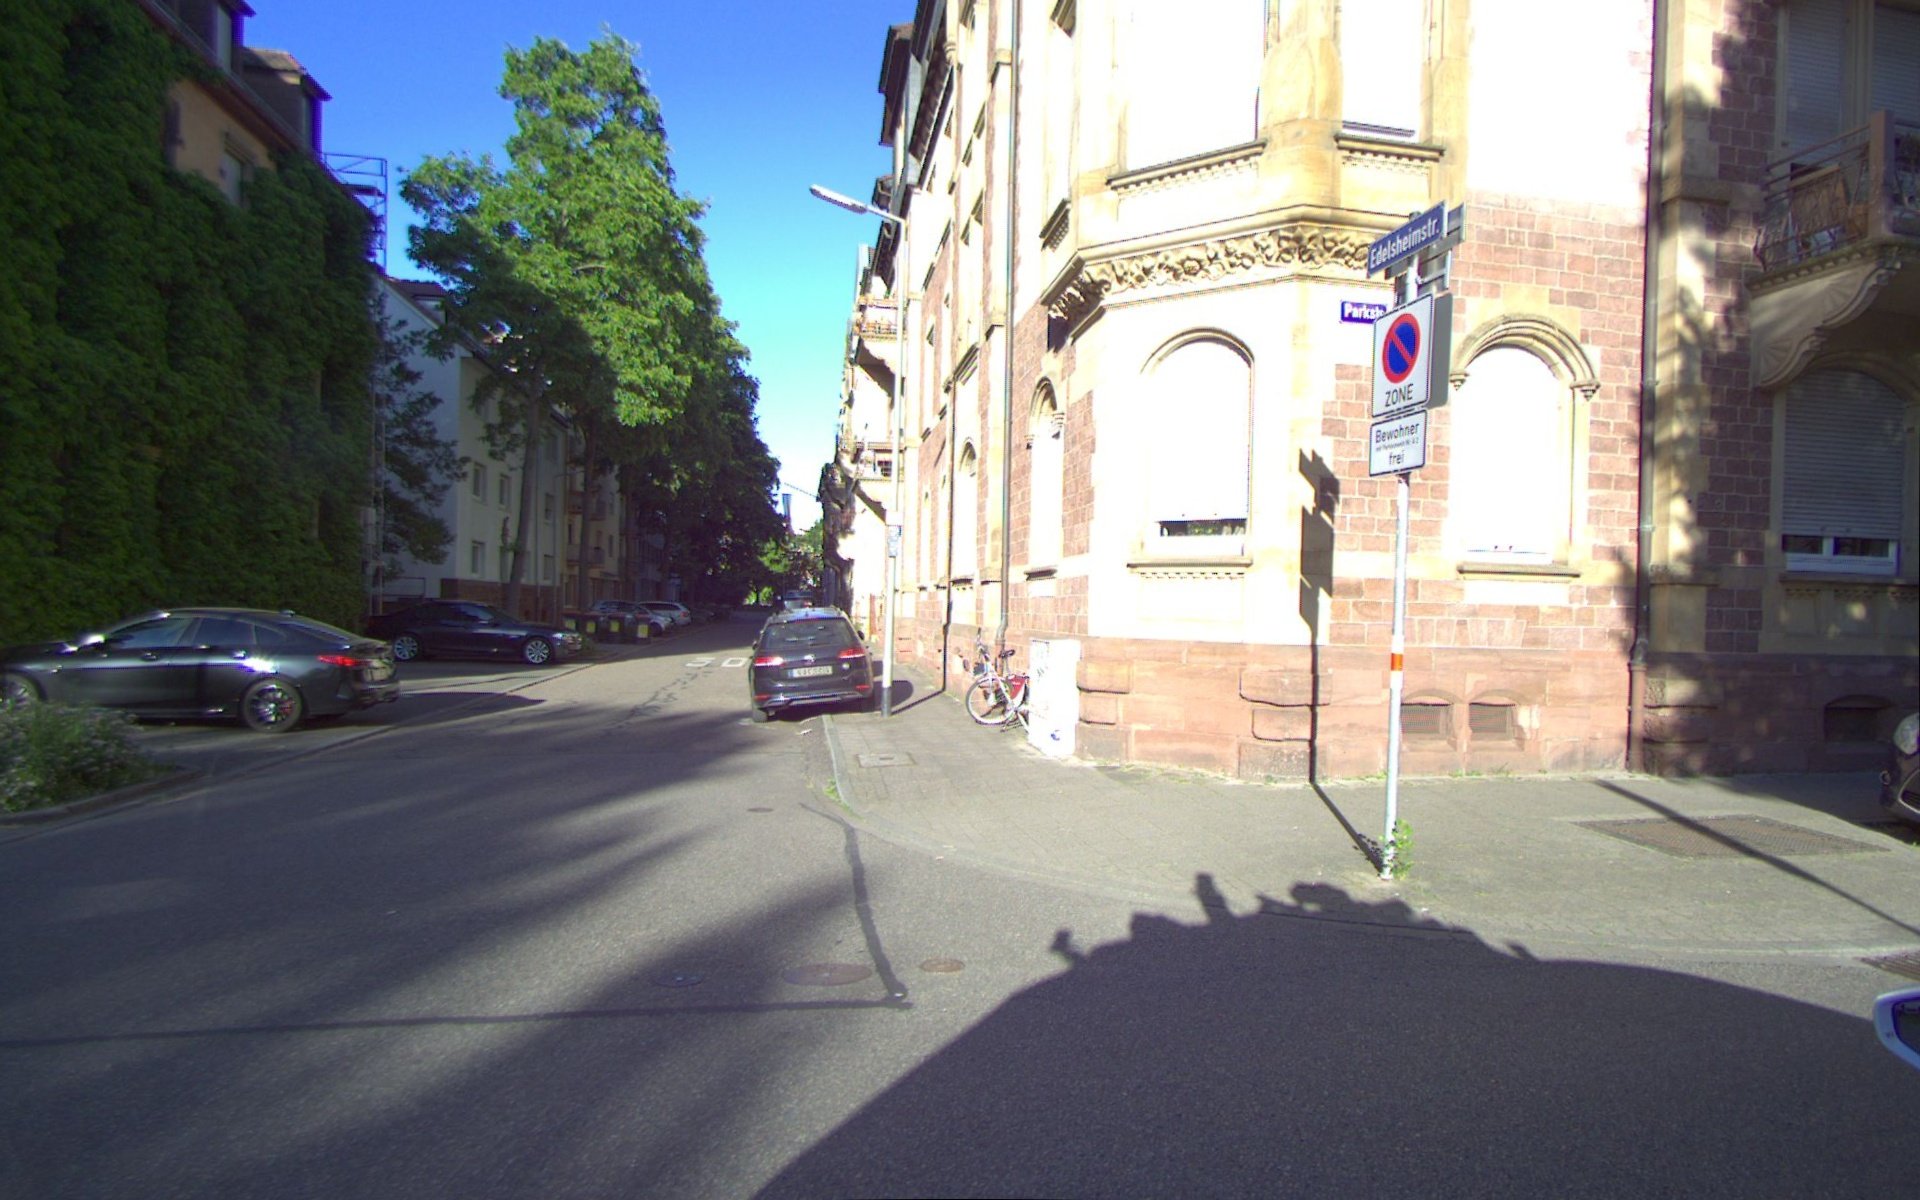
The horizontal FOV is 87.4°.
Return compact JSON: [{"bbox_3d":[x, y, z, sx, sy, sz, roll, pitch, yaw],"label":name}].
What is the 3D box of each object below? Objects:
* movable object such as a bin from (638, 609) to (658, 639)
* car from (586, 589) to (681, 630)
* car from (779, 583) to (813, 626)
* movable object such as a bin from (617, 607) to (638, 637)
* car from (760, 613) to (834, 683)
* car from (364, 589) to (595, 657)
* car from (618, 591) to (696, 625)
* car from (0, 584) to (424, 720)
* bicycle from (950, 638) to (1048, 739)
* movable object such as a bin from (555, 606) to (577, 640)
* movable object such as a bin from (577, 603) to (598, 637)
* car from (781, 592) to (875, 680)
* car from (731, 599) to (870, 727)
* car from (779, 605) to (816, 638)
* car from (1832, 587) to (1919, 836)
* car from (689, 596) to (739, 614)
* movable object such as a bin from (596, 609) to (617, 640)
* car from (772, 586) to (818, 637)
[{"bbox_3d":[-11.206,0.863,36.059,0.621,1.067,0.566,2,-1,-16],"label":"movable object such as a bin"},{"bbox_3d":[-14.164,0.414,43.781,3.749,1.596,1.705,2,-1,-14],"label":"car"},{"bbox_3d":[-11.156,0.343,68.188,2.134,2.726,4.782,2,-1,-10],"label":"car"},{"bbox_3d":[-11.884,0.786,35.911,0.621,1.067,0.566,2,-1,-16],"label":"movable object such as a bin"},{"bbox_3d":[-4.236,1.184,26.059,1.712,1.602,3.993,2,-1,-10],"label":"car"},{"bbox_3d":[-11.637,0.564,24.637,4.766,1.454,1.706,2,-1,-12],"label":"car"},{"bbox_3d":[-16.054,0.425,53.396,3.747,1.596,1.706,2,-1,-12],"label":"car"},{"bbox_3d":[-9.309,0.622,12.497,4.182,1.454,1.996,2,-1,-12],"label":"car"},{"bbox_3d":[0.416,0.980,11.508,0.508,1.011,1.568,2,-1,-21],"label":"bicycle"},{"bbox_3d":[-13.878,0.805,35.350,0.625,1.141,0.485,2,-1,-16],"label":"movable object such as a bin"},{"bbox_3d":[-13.188,0.703,35.574,0.590,1.168,0.485,2,-1,-16],"label":"movable object such as a bin"},{"bbox_3d":[-2.838,0.710,21.074,1.712,1.602,3.993,2,-1,-10],"label":"car"},{"bbox_3d":[-2.377,0.844,14.935,1.712,1.602,3.993,2,-1,-10],"label":"car"},{"bbox_3d":[-8.322,1.071,51.344,1.776,1.534,3.993,2,-1,-10],"label":"car"},{"bbox_3d":[8.466,0.829,6.819,4.187,1.643,1.730,2,1,-14],"label":"car"},{"bbox_3d":[-19.453,0.378,79.506,3.747,1.256,1.706,2,-1,-12],"label":"car"},{"bbox_3d":[-12.552,0.856,35.693,0.621,1.067,0.566,2,-1,-16],"label":"movable object such as a bin"},{"bbox_3d":[-7.130,0.511,43.330,1.776,2.030,3.993,2,-1,-10],"label":"car"}]
